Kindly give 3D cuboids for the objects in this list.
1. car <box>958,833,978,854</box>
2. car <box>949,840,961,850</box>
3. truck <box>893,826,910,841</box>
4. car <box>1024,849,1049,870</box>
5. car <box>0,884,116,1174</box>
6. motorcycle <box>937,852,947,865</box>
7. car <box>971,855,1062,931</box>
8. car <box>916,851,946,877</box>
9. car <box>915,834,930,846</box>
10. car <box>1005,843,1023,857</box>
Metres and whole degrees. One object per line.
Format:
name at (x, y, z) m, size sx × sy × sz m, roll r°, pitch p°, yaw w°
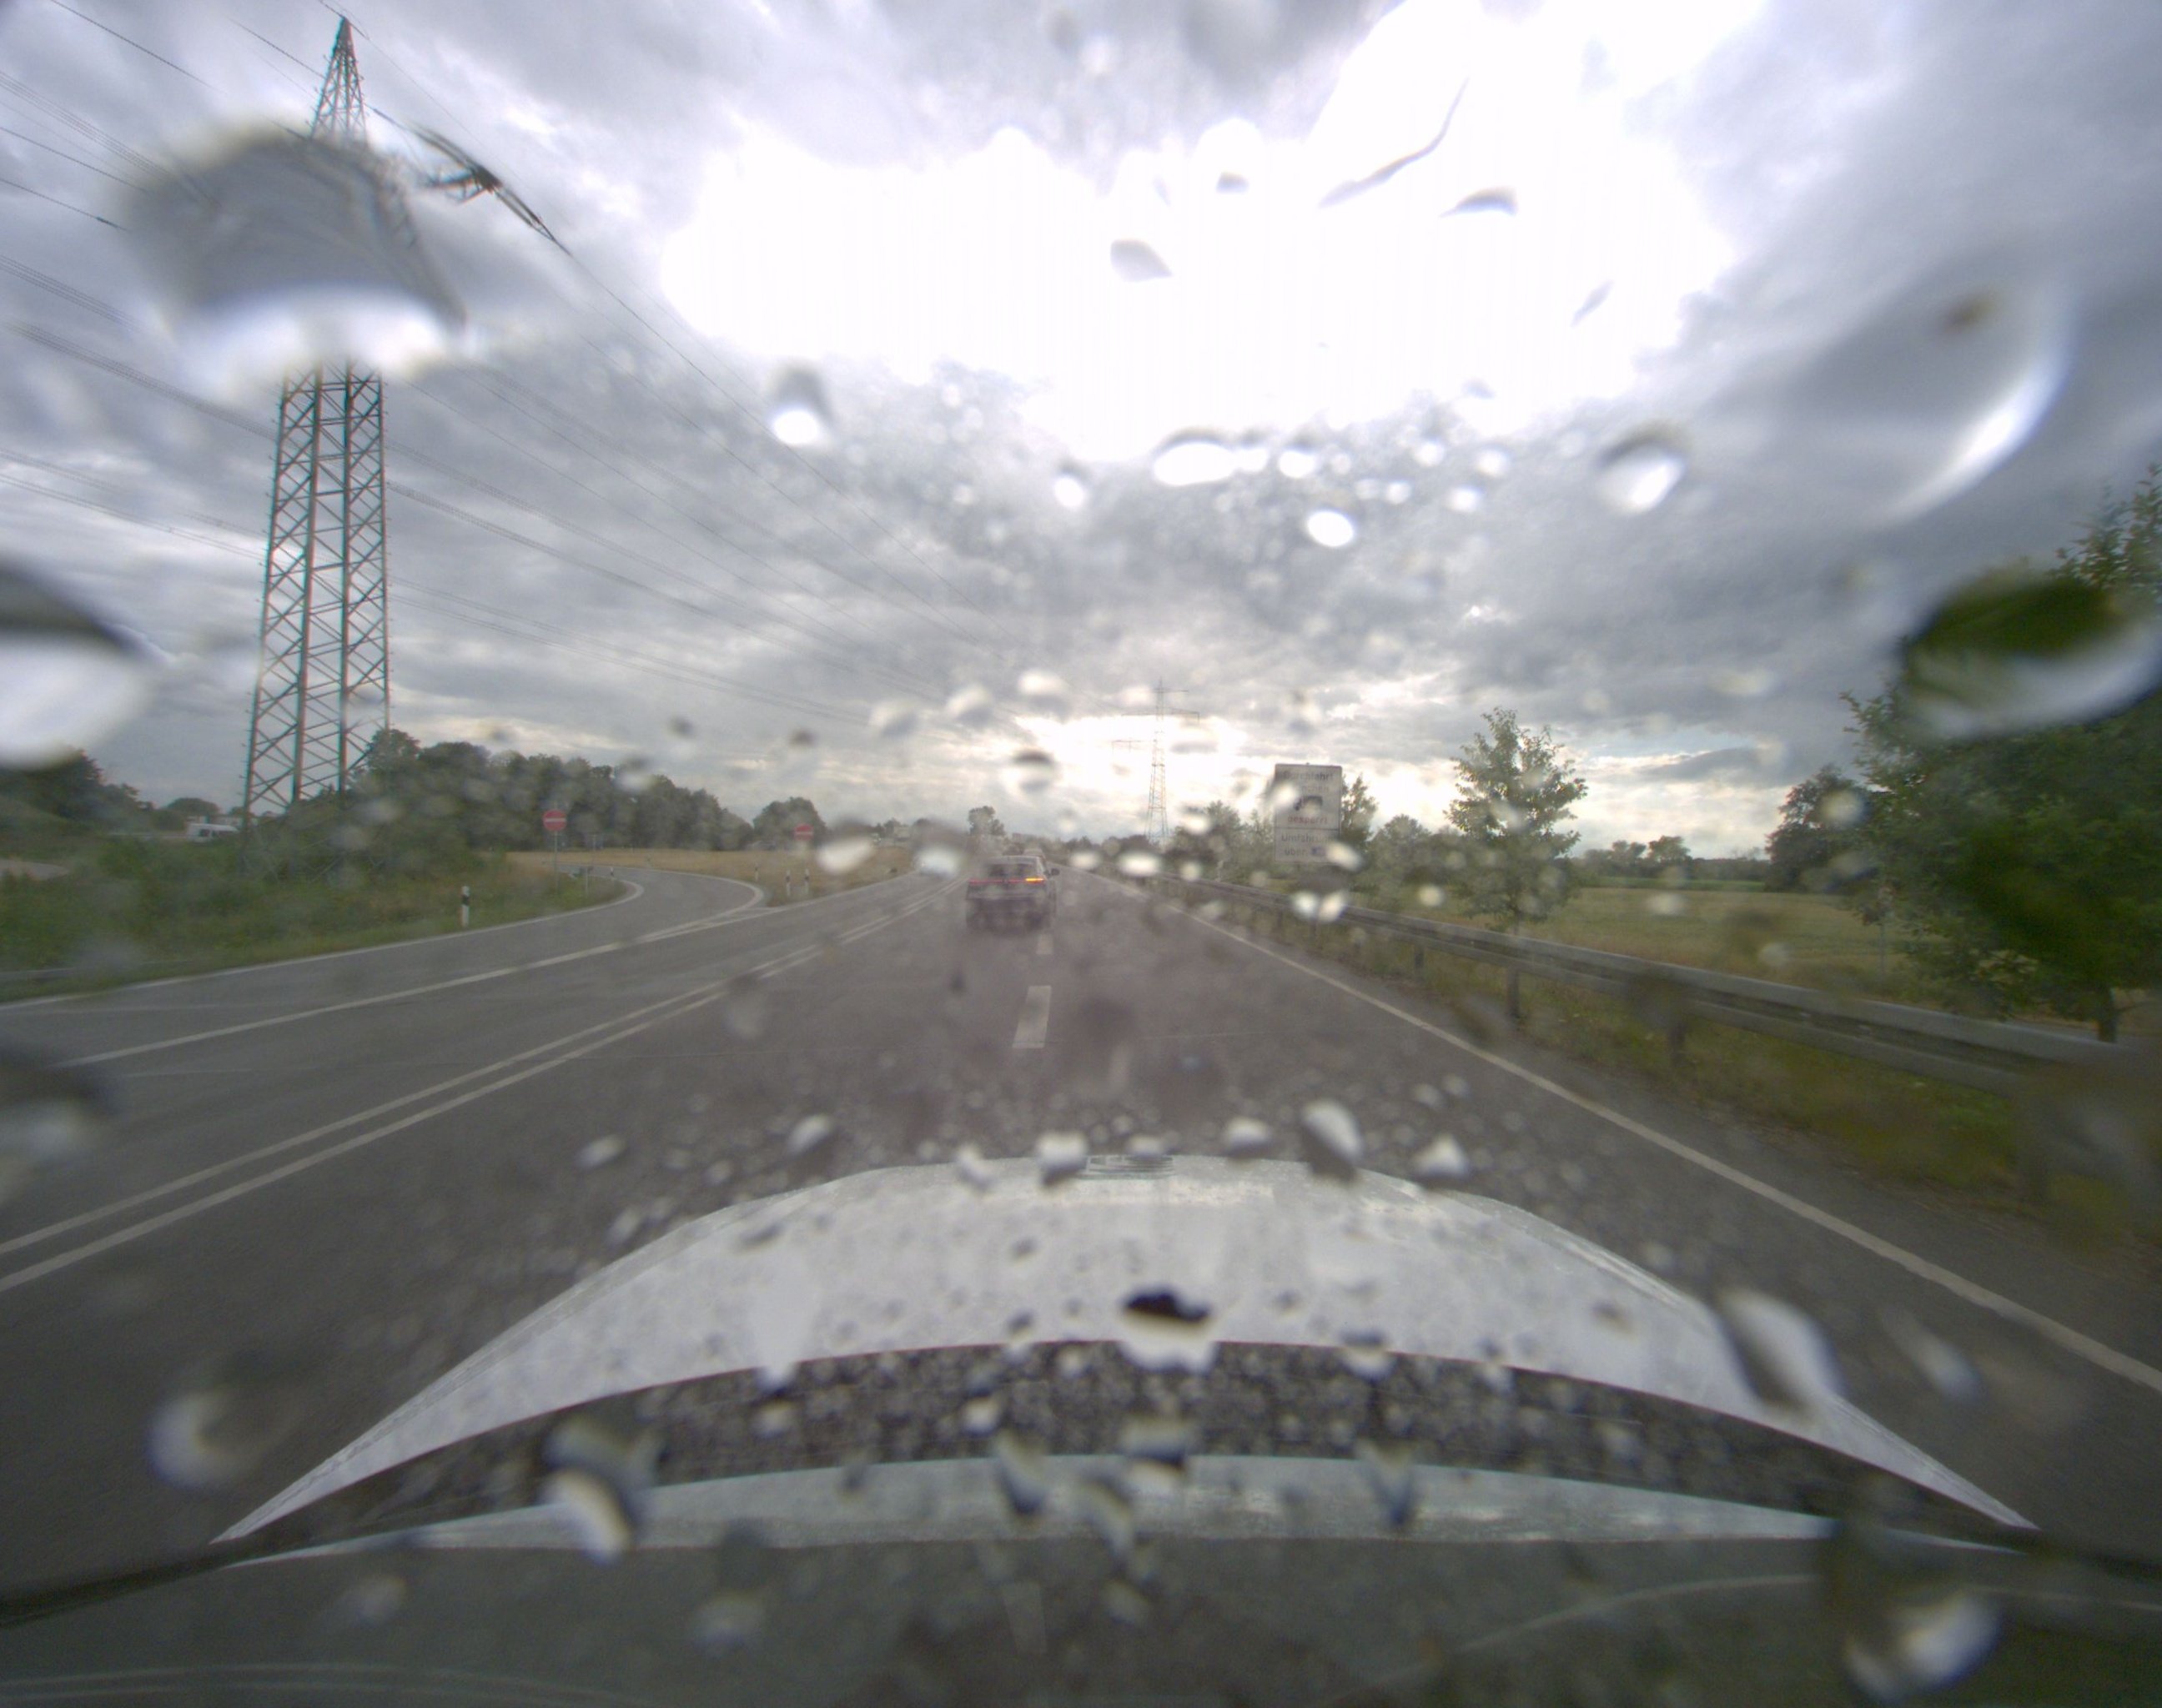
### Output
car at (-15.348, -1.358, 111.005) m, size 2.571 × 2.725 × 7.176 m, roll 0°, pitch 0°, yaw -8°
car at (-20.831, -1.458, 134.706) m, size 1.792 × 1.688 × 3.986 m, roll 0°, pitch -1°, yaw -10°
truck at (-43.582, -4.830, 197.599) m, size 3.057 × 3.385 × 7.591 m, roll 0°, pitch -1°, yaw -21°
car at (-3.409, 0.404, 61.906) m, size 1.788 × 1.441 × 3.993 m, roll -2°, pitch 0°, yaw -5°
car at (-6.391, 0.876, 2.357) m, size 1.700 × 1.480 × 4.608 m, roll 0°, pitch -1°, yaw -1°
motorcycle at (-13.186, 0.410, 77.219) m, size 0.803 × 1.238 × 2.175 m, roll 0°, pitch 1°, yaw -14°
car at (-1.373, 0.775, 18.160) m, size 1.787 × 1.441 × 3.996 m, roll -1°, pitch 0°, yaw -3°
car at (-9.861, 0.647, 53.822) m, size 1.799 × 1.594 × 4.213 m, roll -1°, pitch -1°, yaw -8°
car at (-33.813, -2.958, 173.864) m, size 2.608 × 2.250 × 5.503 m, roll 0°, pitch -1°, yaw -17°
car at (-8.273, -0.505, 100.203) m, size 1.792 × 1.541 × 3.985 m, roll -2°, pitch -1°, yaw -11°
